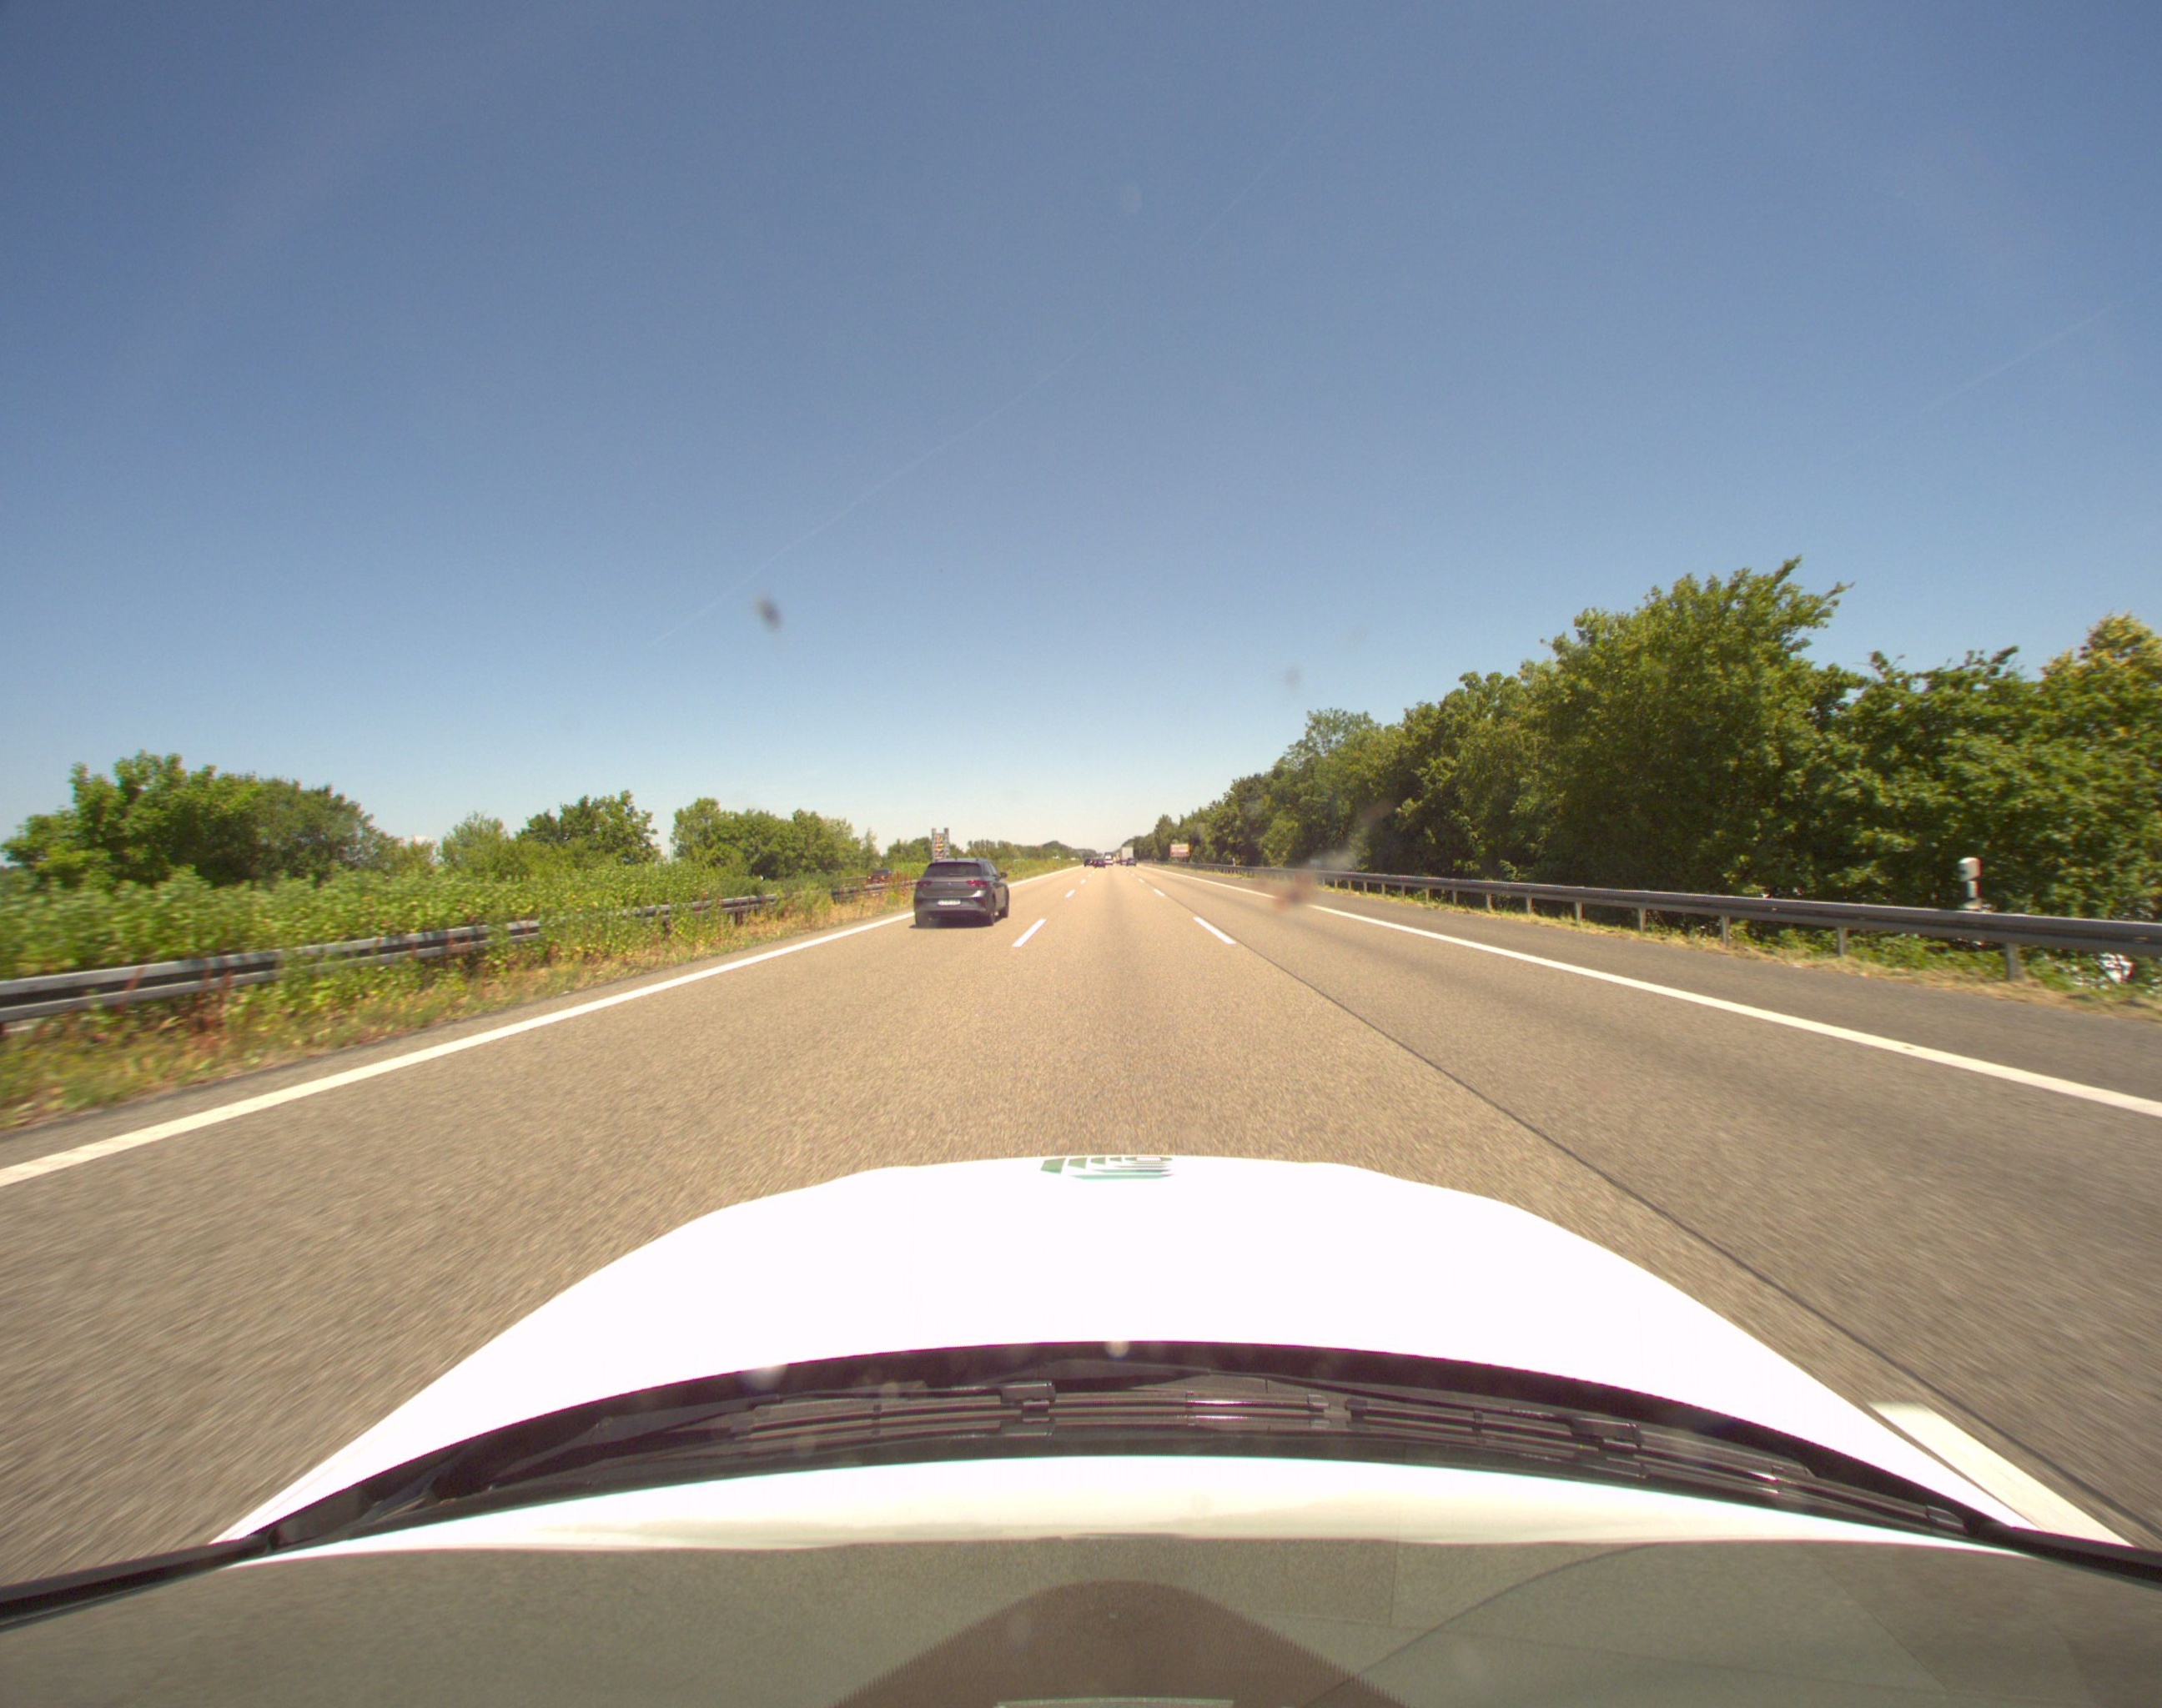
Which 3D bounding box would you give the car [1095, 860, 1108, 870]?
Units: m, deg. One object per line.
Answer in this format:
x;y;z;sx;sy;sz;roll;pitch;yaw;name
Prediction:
3.217;1.712;126.797;1.893;1.531;4.085;0;0;2;car

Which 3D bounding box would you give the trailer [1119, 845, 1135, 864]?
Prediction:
10.261;0.171;183.183;3.421;4.181;13.638;-1;-1;2;trailer

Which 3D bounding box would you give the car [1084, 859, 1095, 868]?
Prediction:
1.658;1.794;156.565;1.900;1.531;4.287;0;0;2;car

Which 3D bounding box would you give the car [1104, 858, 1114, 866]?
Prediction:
5.987;1.688;174.119;1.893;1.531;4.085;0;0;2;car

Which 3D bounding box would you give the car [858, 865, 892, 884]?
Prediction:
-19.407;1.934;76.773;1.959;1.672;4.424;-1;0;1;car

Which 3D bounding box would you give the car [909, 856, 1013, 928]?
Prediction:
-2.774;0.829;19.740;1.752;1.531;4.287;0;0;2;car

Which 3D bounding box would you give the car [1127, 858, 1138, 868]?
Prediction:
9.530;1.668;150.583;1.838;1.629;4.137;-2;-1;2;car
